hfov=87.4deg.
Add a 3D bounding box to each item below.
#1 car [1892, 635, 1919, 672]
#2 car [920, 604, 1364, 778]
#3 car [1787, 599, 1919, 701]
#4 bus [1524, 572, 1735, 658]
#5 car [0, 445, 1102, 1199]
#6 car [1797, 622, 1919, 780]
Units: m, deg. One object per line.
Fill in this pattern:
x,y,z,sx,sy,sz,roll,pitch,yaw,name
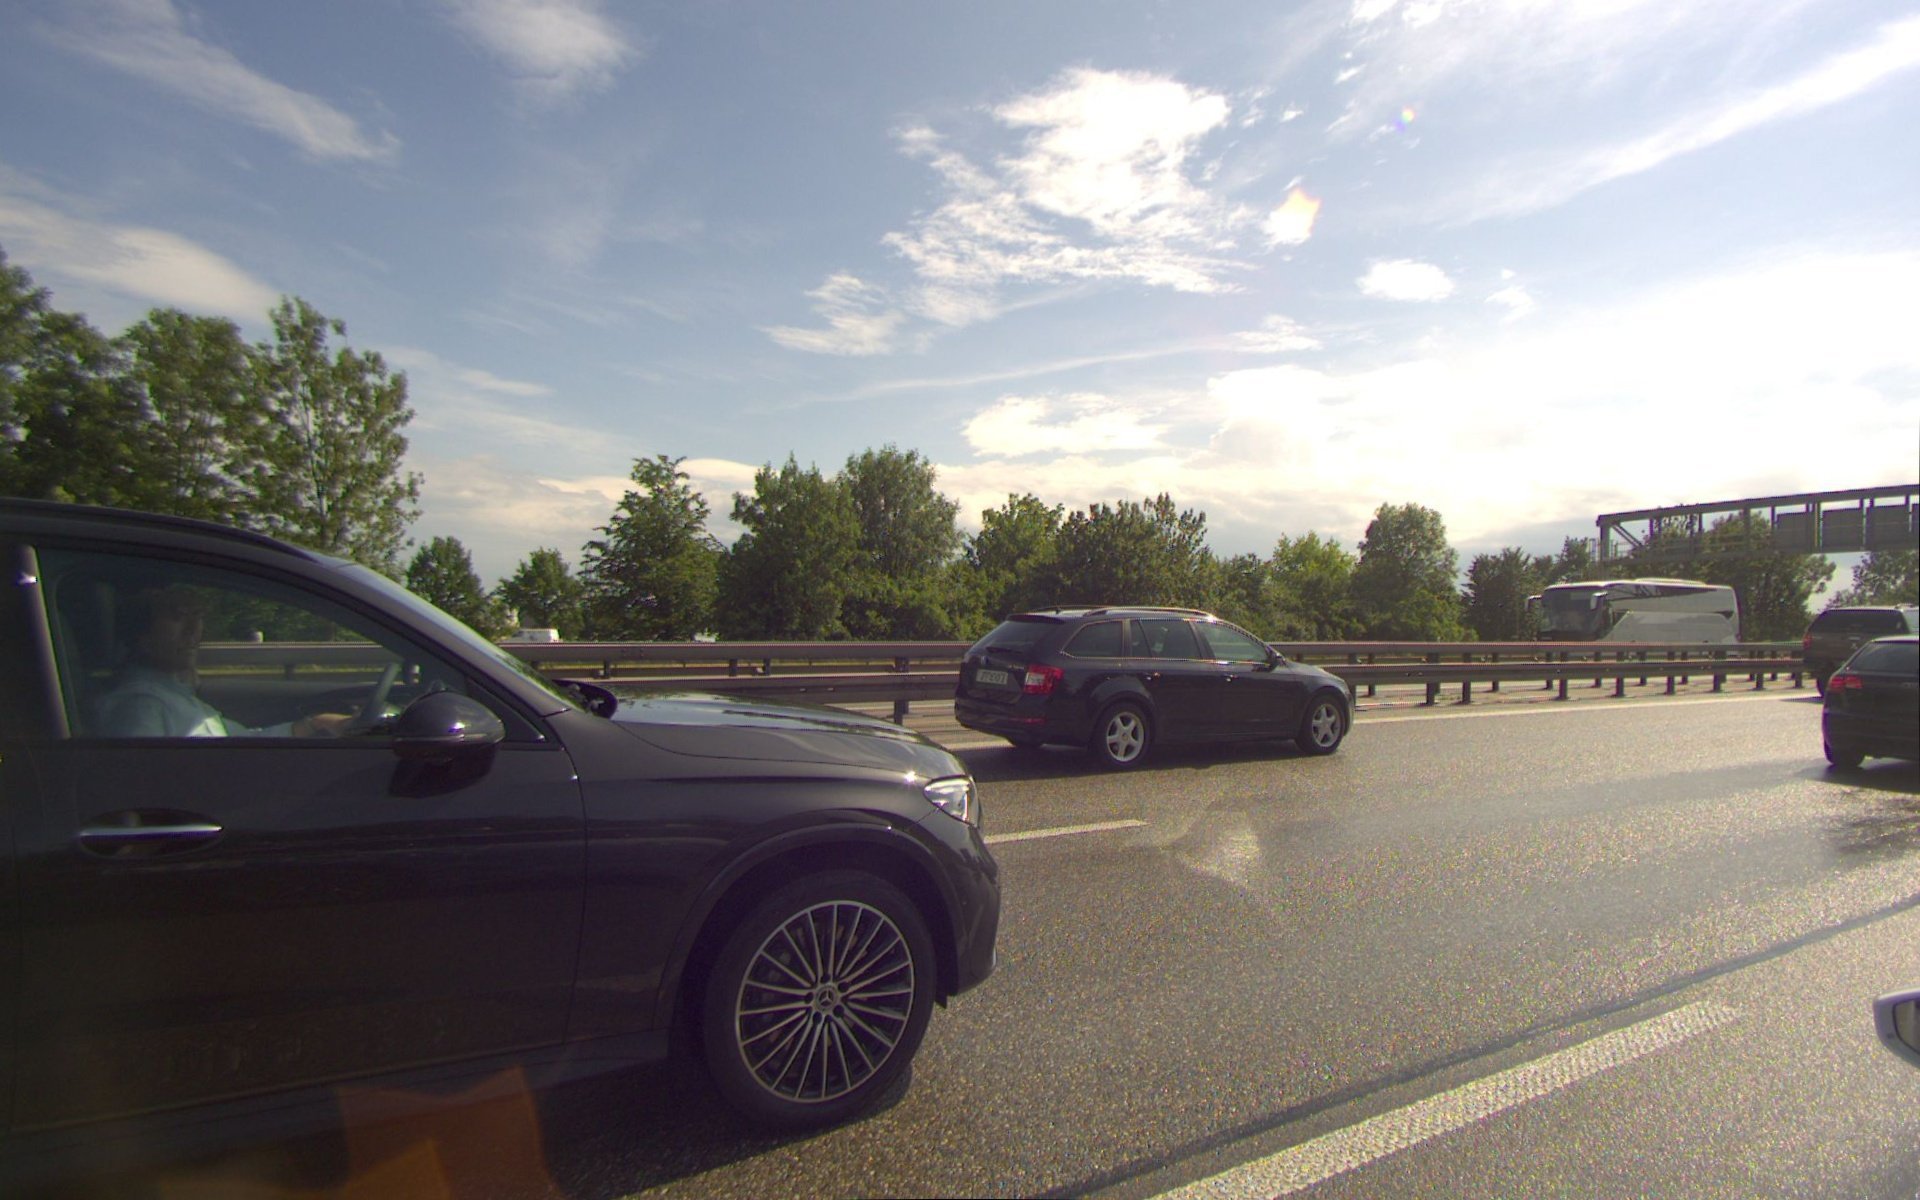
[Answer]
40.831,2.242,41.968,3.954,1.461,1.767,1,0,-31,car
1.942,0.806,10.350,4.322,1.444,1.910,1,0,-31,car
19.292,0.960,20.588,5.352,1.869,1.798,1,0,-29,car
29.111,0.710,43.365,12.077,3.330,2.923,1,0,-32,bus
-1.997,0.565,2.848,4.571,1.701,1.868,1,0,-30,car
10.626,0.982,10.409,4.006,1.452,1.742,1,0,-30,car
